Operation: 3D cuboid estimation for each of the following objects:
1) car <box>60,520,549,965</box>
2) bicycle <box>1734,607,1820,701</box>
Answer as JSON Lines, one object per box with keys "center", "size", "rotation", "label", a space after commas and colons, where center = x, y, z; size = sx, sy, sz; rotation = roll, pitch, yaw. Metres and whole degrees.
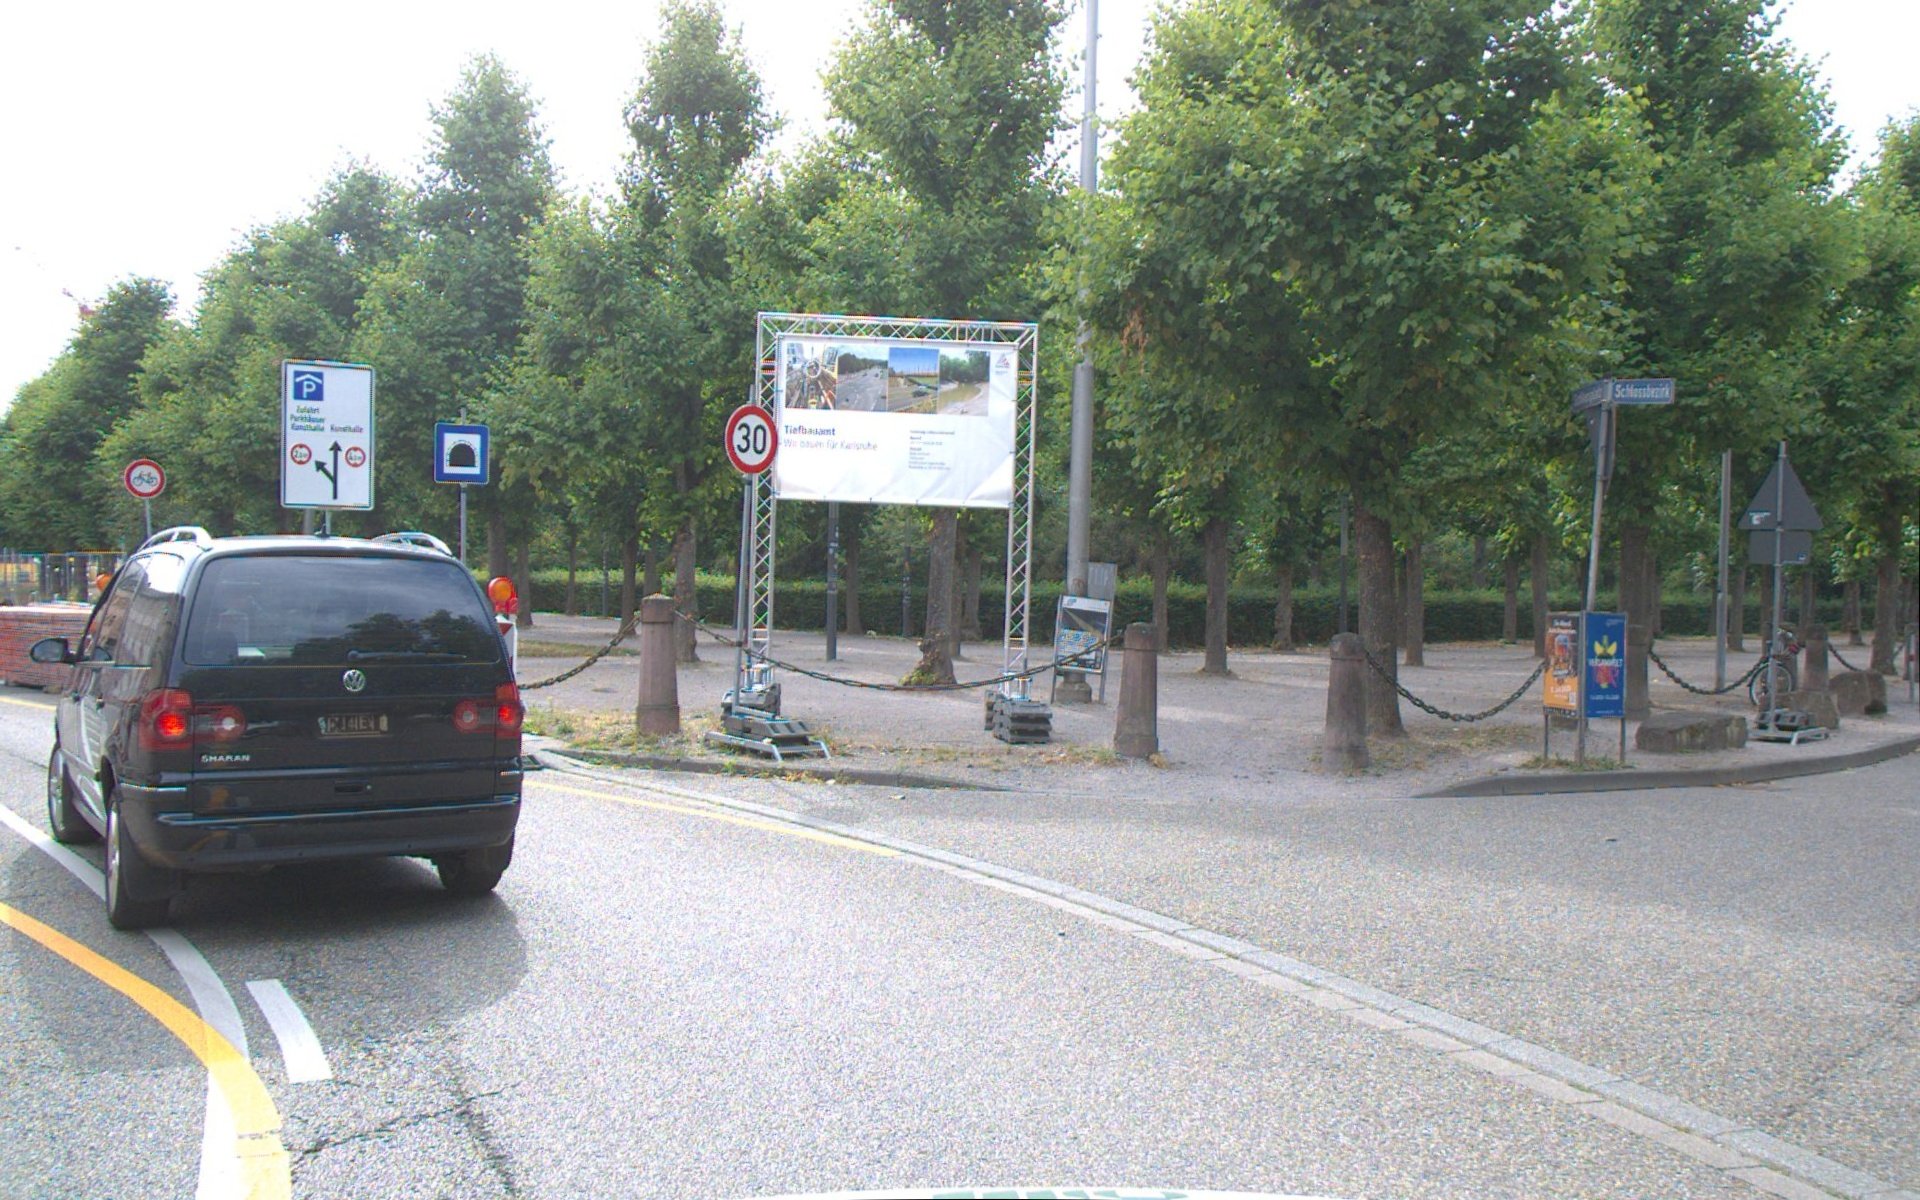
{"center": [-3.634, 0.525, 8.683], "size": [1.775, 1.738, 4.088], "rotation": [0, 1, -31], "label": "car"}
{"center": [11.334, 0.713, 23.005], "size": [0.933, 1.129, 2.578], "rotation": [3, 2, 24], "label": "bicycle"}
